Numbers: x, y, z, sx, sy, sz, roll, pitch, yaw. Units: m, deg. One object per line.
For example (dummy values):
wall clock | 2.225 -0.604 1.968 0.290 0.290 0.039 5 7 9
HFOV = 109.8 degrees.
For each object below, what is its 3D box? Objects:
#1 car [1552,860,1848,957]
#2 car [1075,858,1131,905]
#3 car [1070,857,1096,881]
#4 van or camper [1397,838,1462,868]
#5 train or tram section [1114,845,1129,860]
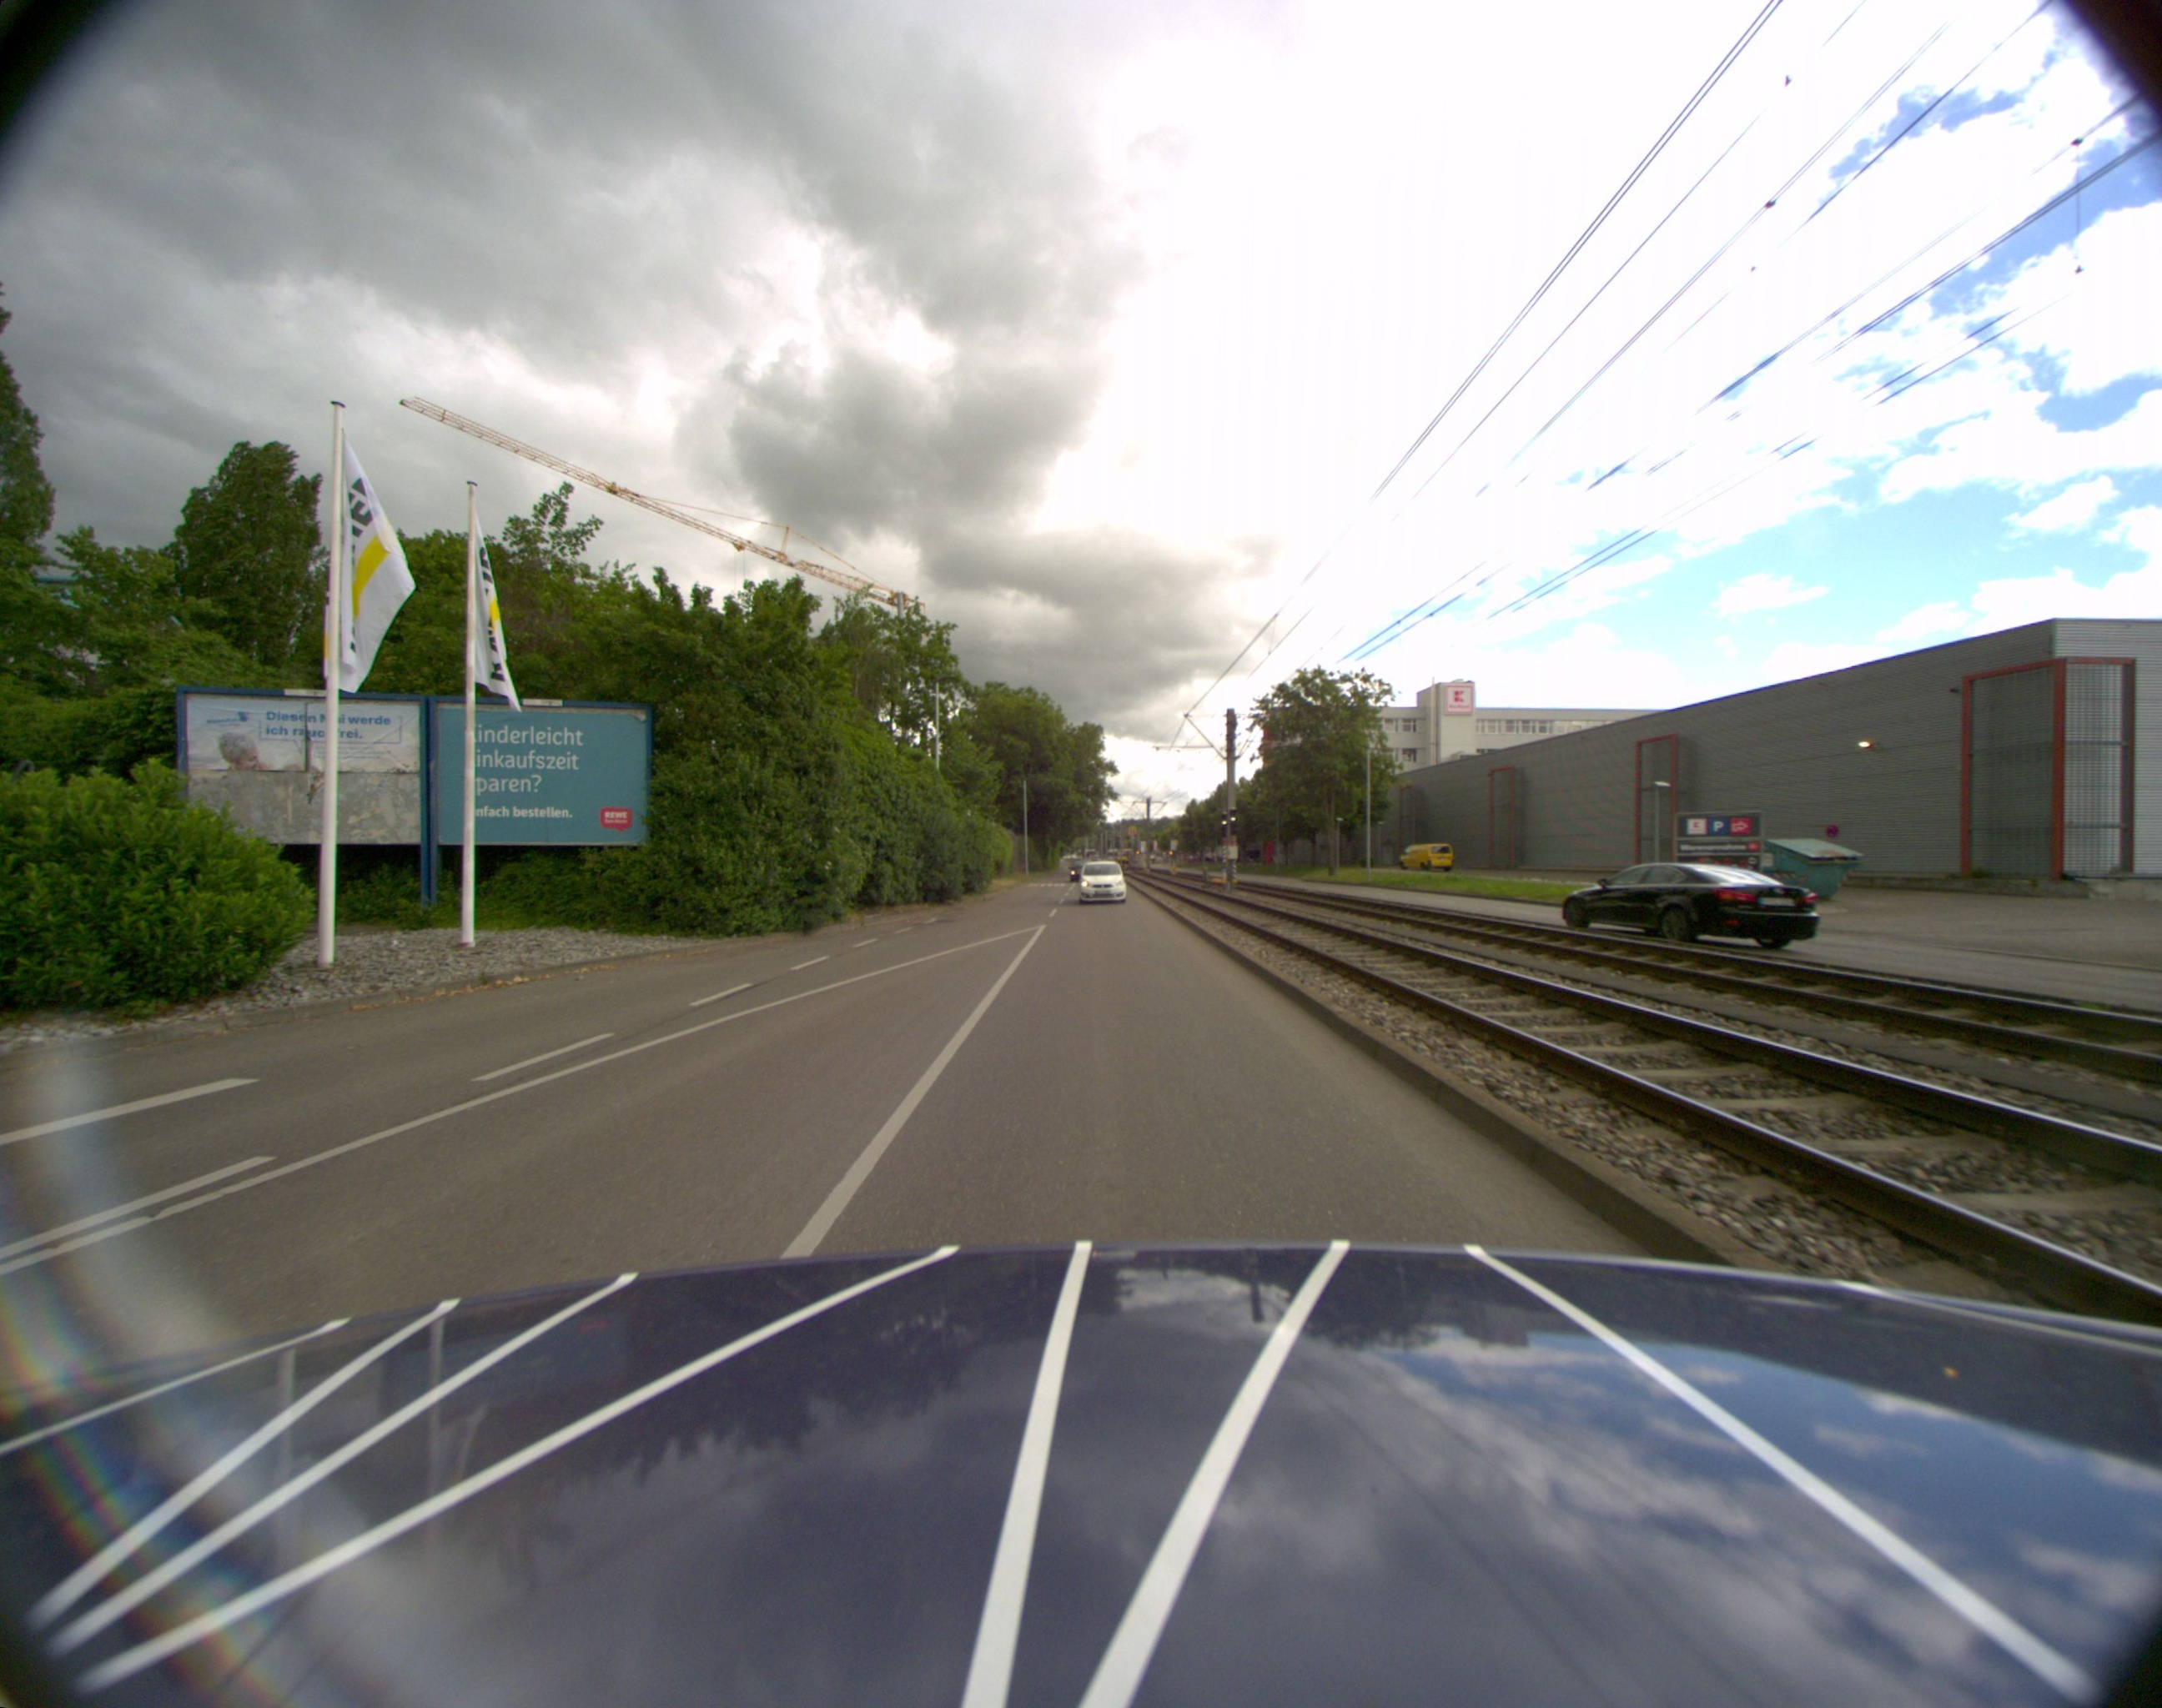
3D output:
car | 10.898 0.862 13.912 1.763 1.393 4.443 2 0 0
car | 0.742 0.920 26.783 1.764 1.469 4.031 -2 0 0
car | 0.170 1.002 53.433 1.714 1.586 4.000 -1 0 1
van or camper | 25.191 -0.059 55.184 2.109 2.002 5.241 -1 0 -2
train or tram section | 10.351 -0.367 194.543 2.778 3.753 13.785 -1 0 -1
